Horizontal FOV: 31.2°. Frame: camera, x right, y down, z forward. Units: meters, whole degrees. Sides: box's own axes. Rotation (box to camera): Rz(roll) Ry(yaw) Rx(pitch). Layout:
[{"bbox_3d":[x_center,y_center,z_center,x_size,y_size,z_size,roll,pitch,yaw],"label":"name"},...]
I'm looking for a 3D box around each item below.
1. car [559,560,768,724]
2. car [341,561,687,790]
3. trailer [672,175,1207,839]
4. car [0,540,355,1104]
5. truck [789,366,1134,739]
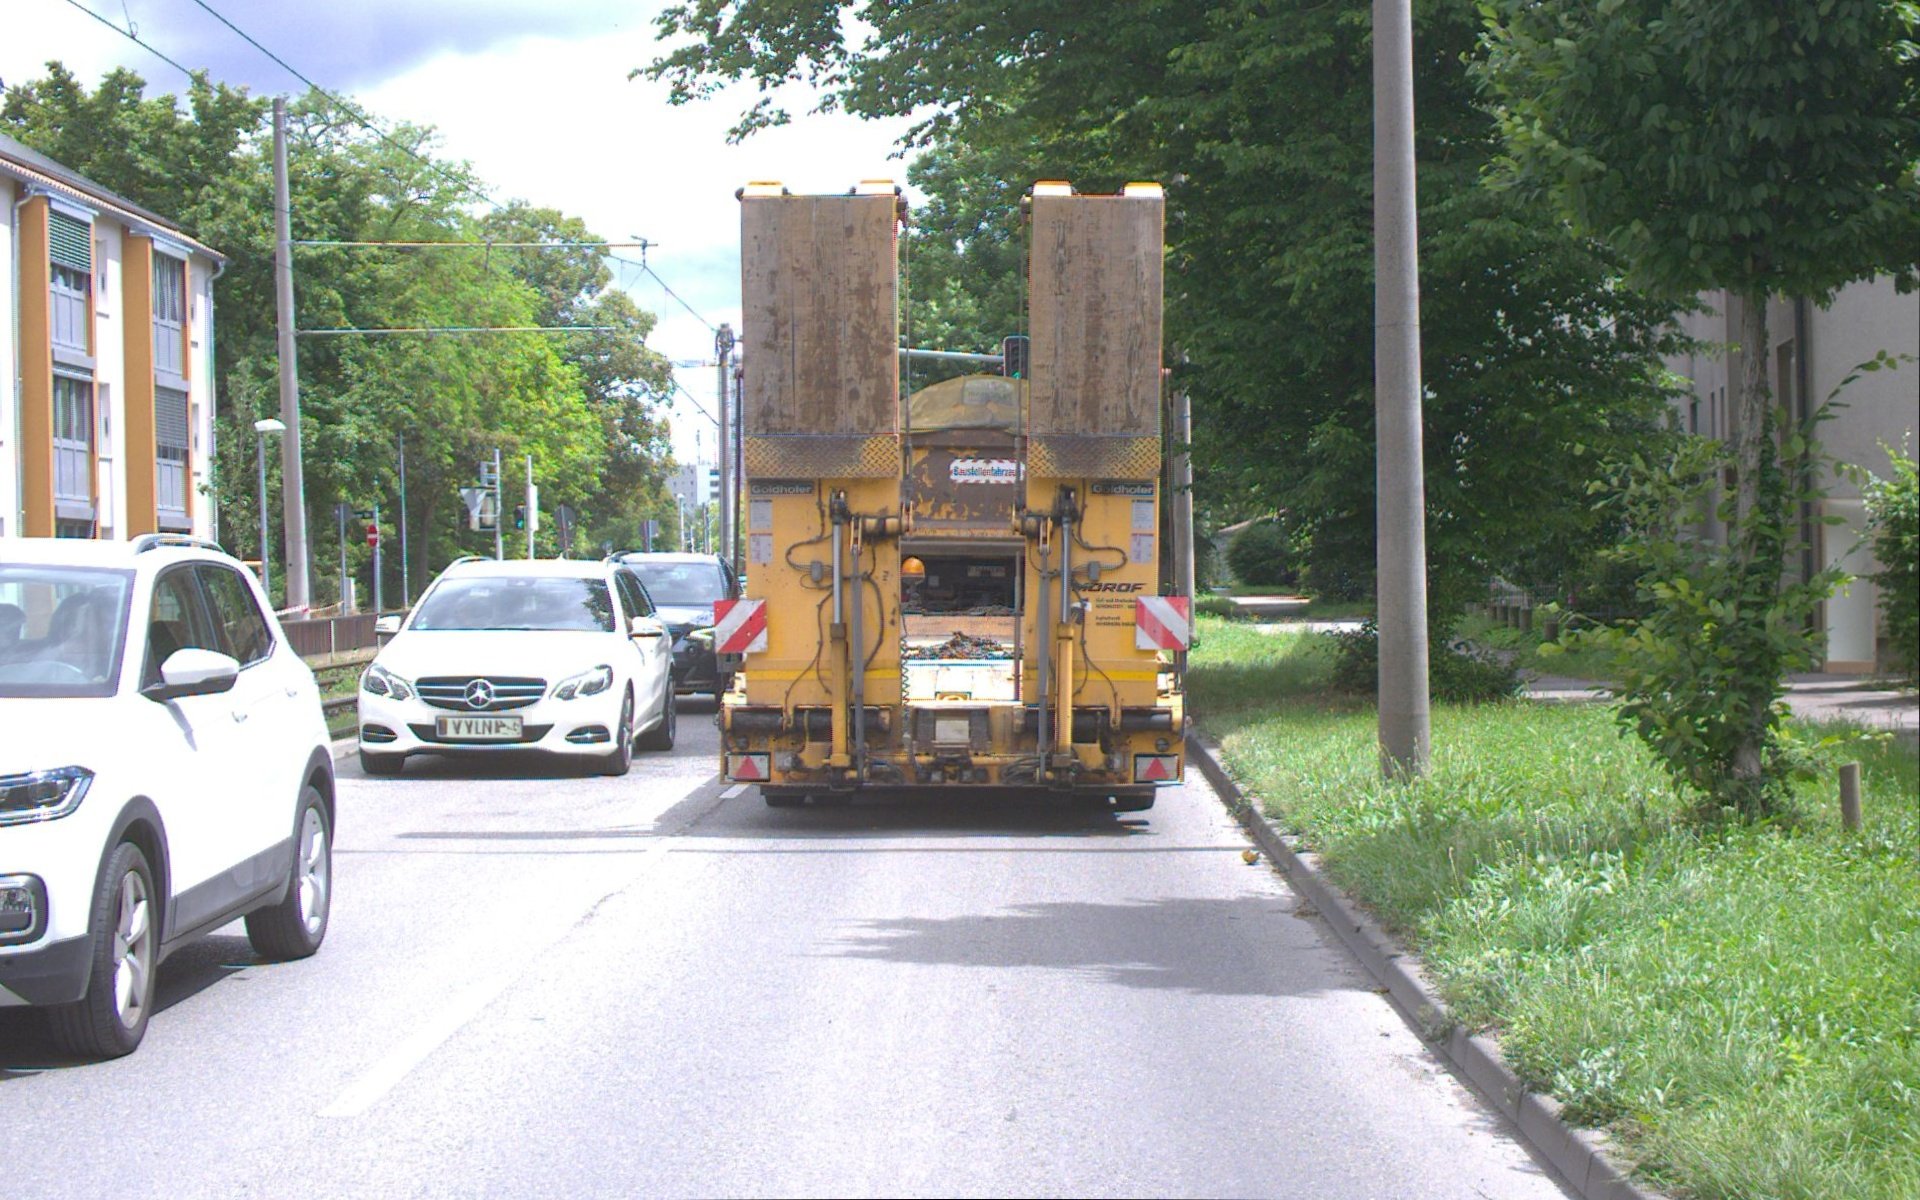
[{"bbox_3d":[-2.882,0.372,34.097,1.650,1.515,3.865,0,1,1],"label":"car"},{"bbox_3d":[-3.145,0.477,25.104,1.879,1.476,4.529,0,1,1],"label":"car"},{"bbox_3d":[-0.080,-0.581,23.805,2.822,3.512,11.052,0,1,0],"label":"trailer"},{"bbox_3d":[-3.289,0.583,11.428,1.718,1.547,3.917,0,1,2],"label":"car"},{"bbox_3d":[0.084,-0.473,33.159,2.917,3.156,7.680,1,1,1],"label":"truck"}]
